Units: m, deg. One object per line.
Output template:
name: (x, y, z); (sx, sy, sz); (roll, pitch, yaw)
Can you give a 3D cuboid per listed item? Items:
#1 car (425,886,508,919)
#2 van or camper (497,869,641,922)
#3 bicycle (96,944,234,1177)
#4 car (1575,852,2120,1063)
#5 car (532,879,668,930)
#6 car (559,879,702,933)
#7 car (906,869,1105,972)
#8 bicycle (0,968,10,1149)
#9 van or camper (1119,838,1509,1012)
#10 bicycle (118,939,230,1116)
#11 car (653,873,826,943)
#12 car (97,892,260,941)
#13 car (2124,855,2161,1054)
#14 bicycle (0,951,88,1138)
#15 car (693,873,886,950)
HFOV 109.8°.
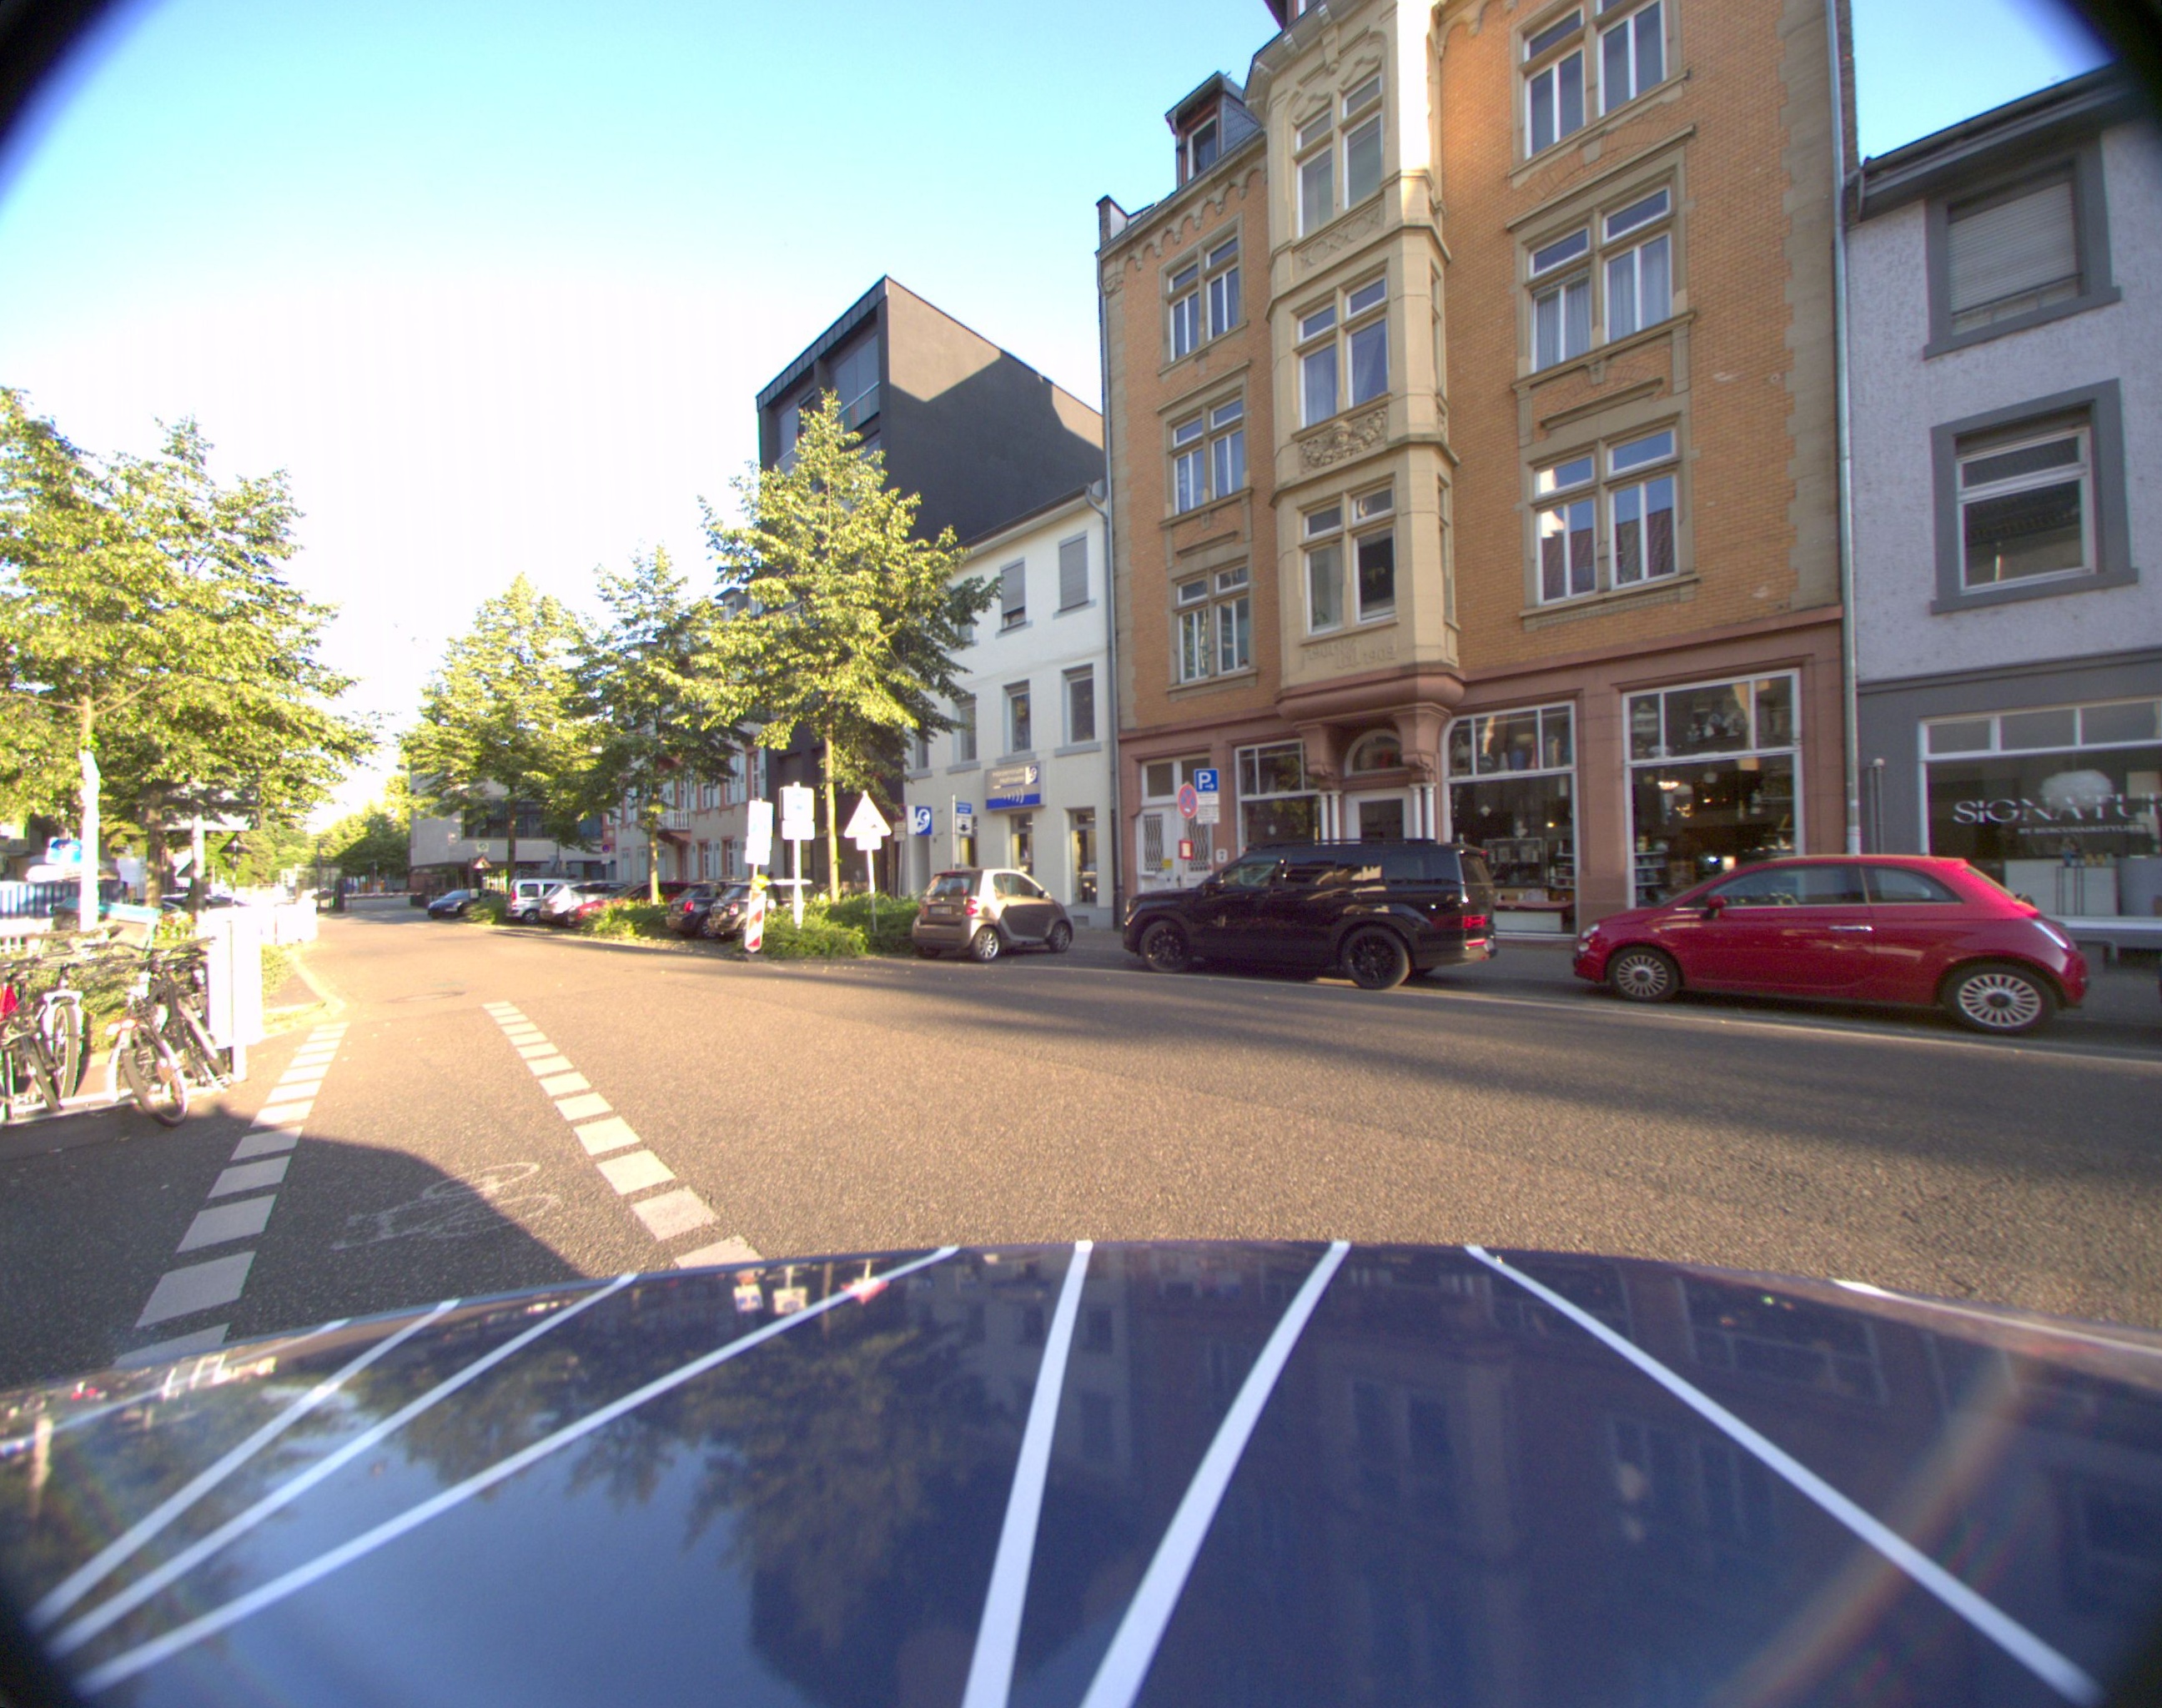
car: (-30.630, 2.384, 38.003); (1.859, 1.558, 3.694); (0, -2, -14)
van or camper: (-20.646, 1.649, 30.798); (1.853, 1.993, 4.465); (-2, -2, 40)
bicycle: (-6.043, 1.267, 5.063); (1.548, 1.213, 0.500); (-2, -1, 43)
car: (6.979, 0.825, 7.371); (3.412, 1.560, 1.534); (-2, -2, 44)
car: (-17.094, 1.750, 27.098); (1.853, 1.659, 3.706); (-2, -2, 40)
car: (-15.052, 1.669, 25.499); (1.853, 1.659, 3.706); (-2, -2, 40)
car: (-1.256, 1.090, 13.707); (1.503, 1.566, 3.489); (-2, -1, 40)
bicycle: (-6.712, 1.305, 4.305); (0.419, 1.150, 1.548); (-1, -1, -43)
van or camper: (2.893, 0.800, 9.920); (4.448, 1.796, 1.900); (-2, -2, 37)
bicycle: (-7.376, 1.337, 6.225); (1.548, 1.171, 0.510); (-2, -1, 43)
car: (-8.917, 1.340, 20.050); (1.853, 1.659, 3.706); (-2, -2, 40)
car: (-35.321, 2.394, 29.930); (1.886, 1.673, 4.009); (-2, -1, 45)
car: (9.846, 0.733, 4.572); (3.924, 1.563, 1.671); (-2, -3, 43)
bicycle: (-7.895, 1.364, 5.639); (1.548, 1.156, 0.490); (-2, -1, 43)
car: (-6.991, 1.318, 18.542); (1.853, 1.659, 4.018); (-2, -3, 40)
